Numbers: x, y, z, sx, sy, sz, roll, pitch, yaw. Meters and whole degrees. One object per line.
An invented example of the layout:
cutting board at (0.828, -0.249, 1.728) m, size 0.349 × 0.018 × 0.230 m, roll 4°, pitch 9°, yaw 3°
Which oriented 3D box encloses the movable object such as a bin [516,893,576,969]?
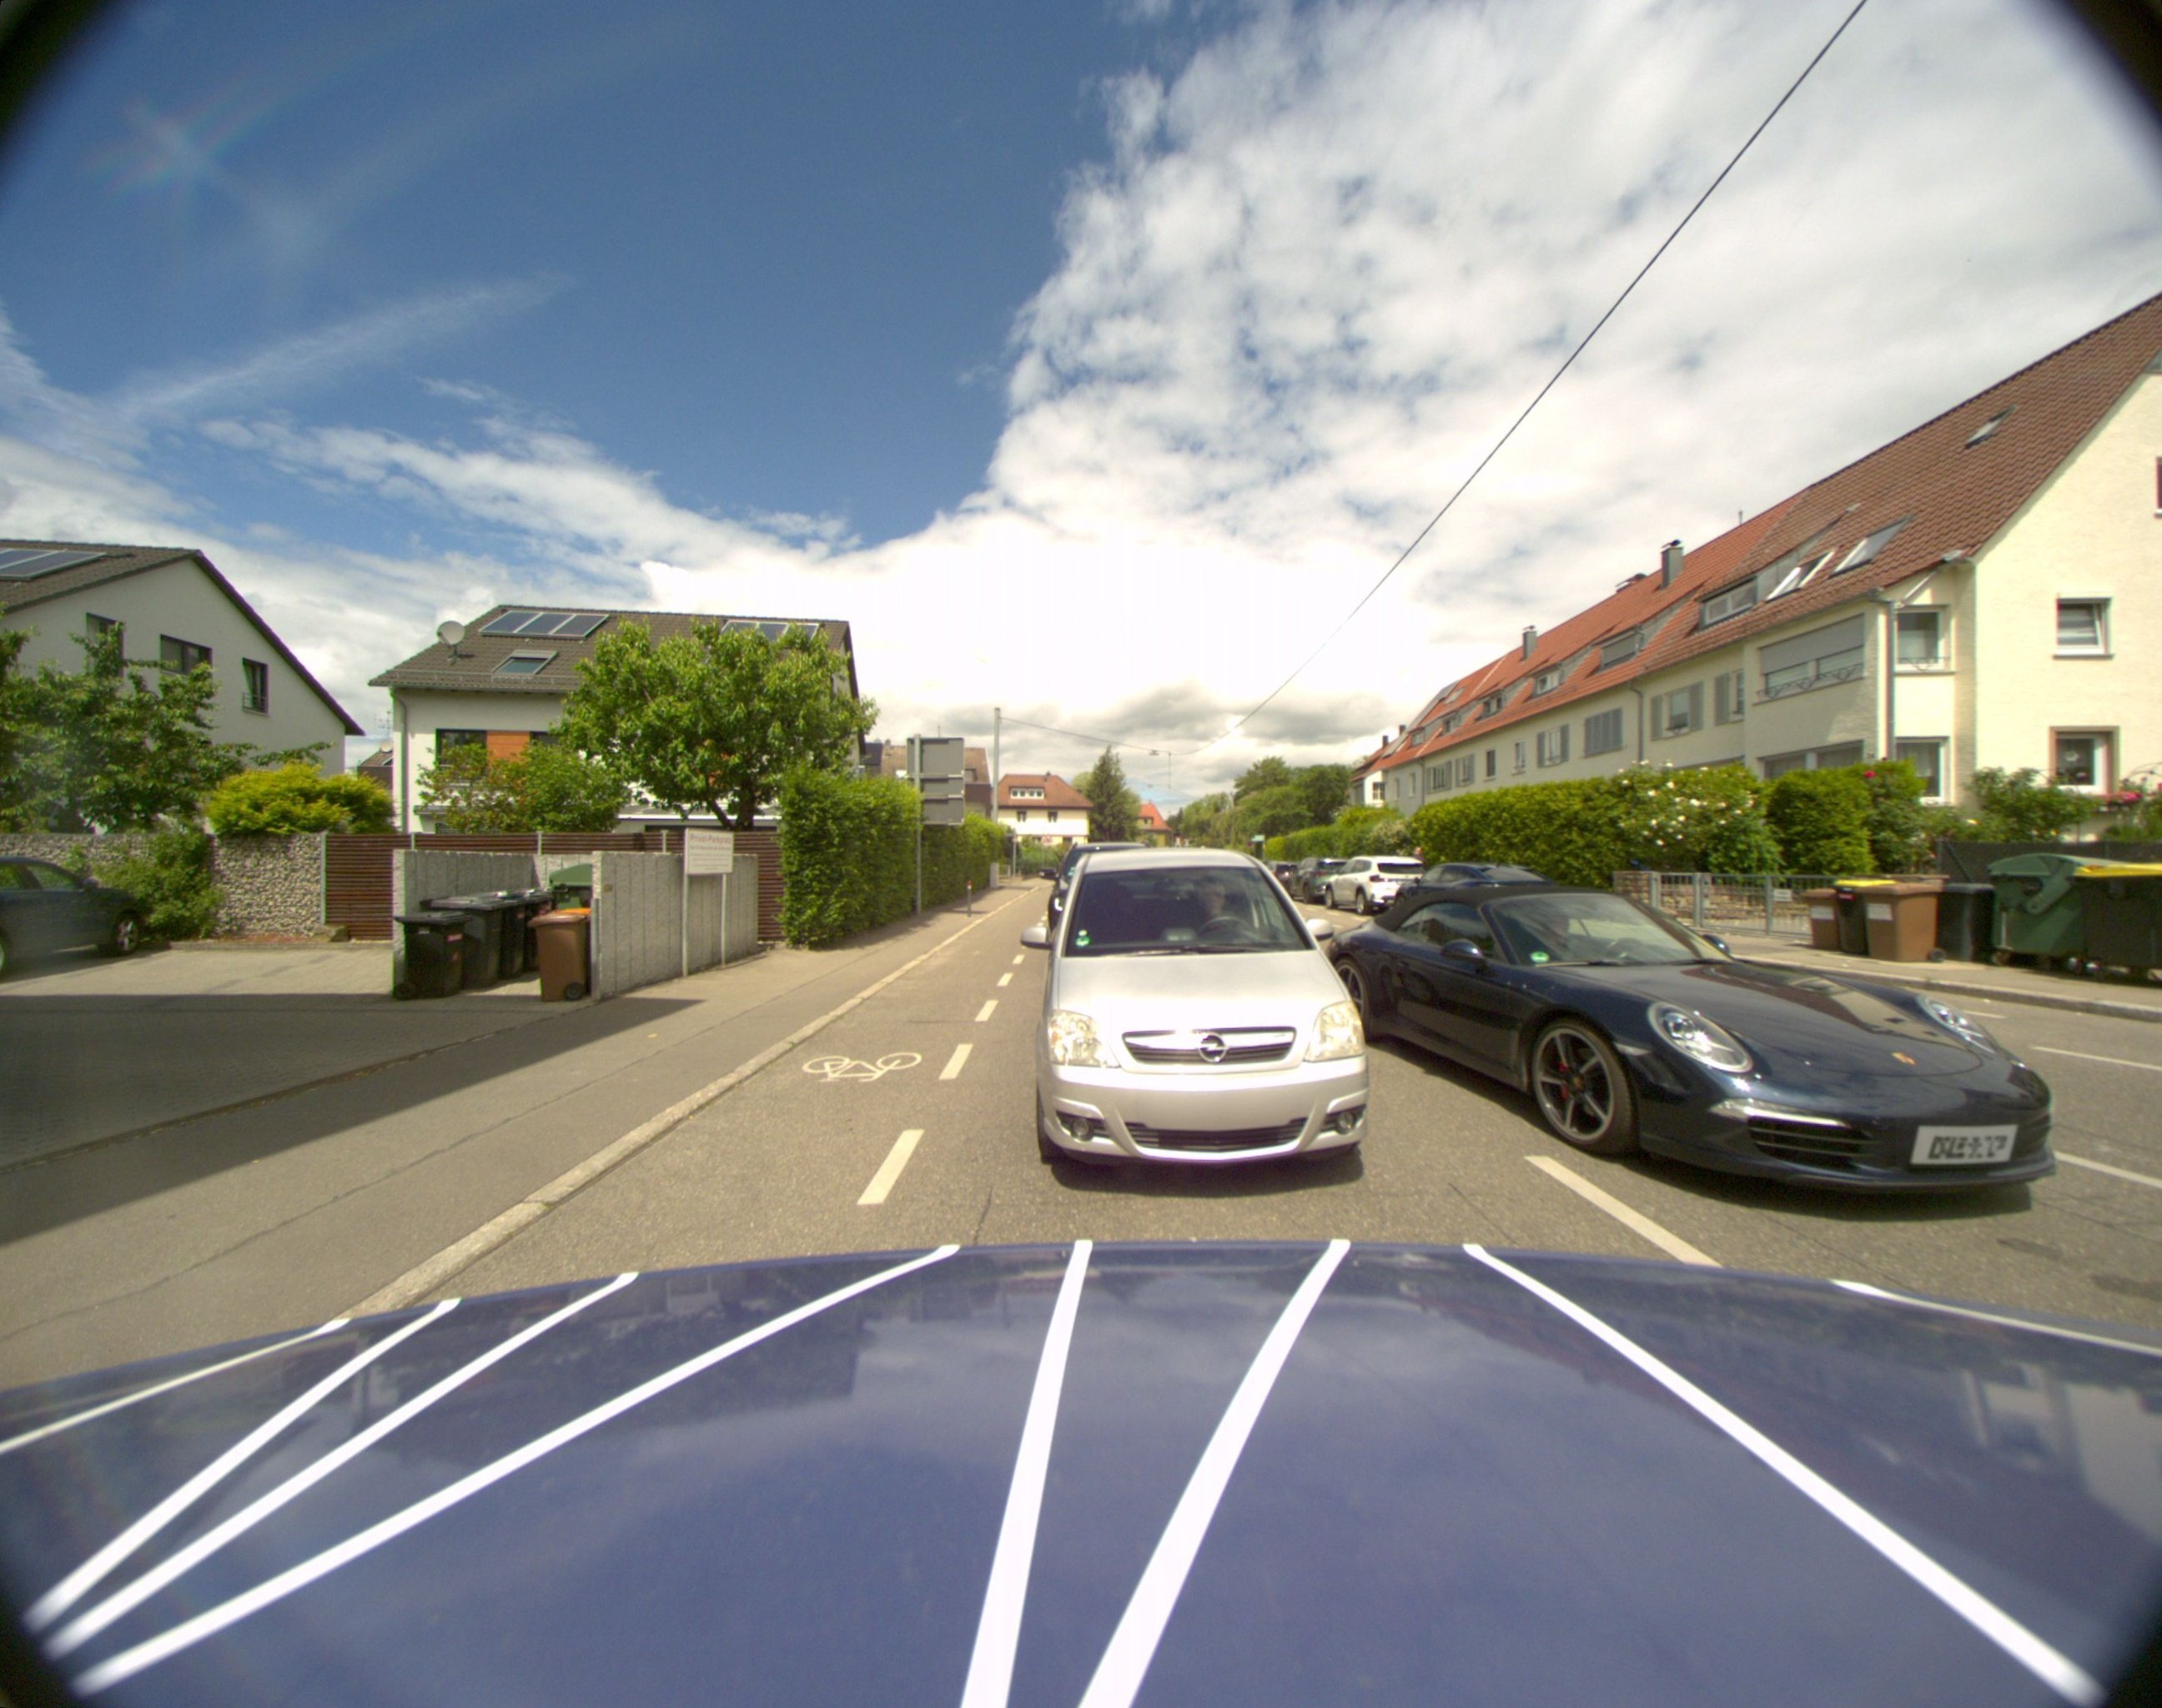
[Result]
movable object such as a bin at (-8.042, 1.145, 11.431) m, size 0.596 × 1.069 × 0.488 m, roll -1°, pitch 1°, yaw -19°

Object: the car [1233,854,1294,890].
car at (9.026, 0.856, 37.887) m, size 1.998 × 1.623 × 4.236 m, roll -1°, pitch 0°, yaw 0°

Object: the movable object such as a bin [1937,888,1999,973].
movable object such as a bin at (11.982, 1.012, 10.259) m, size 0.657 × 1.059 × 0.522 m, roll -1°, pitch 1°, yaw -39°

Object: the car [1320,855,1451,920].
car at (8.545, 0.874, 21.817) m, size 1.998 × 1.623 × 4.453 m, roll -1°, pitch 0°, yaw 0°

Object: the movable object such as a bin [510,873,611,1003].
movable object such as a bin at (-6.087, 0.966, 8.914) m, size 0.809 × 1.446 × 0.479 m, roll -1°, pitch 1°, yaw -4°

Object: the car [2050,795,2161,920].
car at (19.342, 0.012, 12.588) m, size 3.997 × 2.002 × 2.000 m, roll -1°, pitch 0°, yaw 0°

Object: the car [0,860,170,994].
car at (-14.802, 0.934, 10.069) m, size 2.003 × 1.587 × 3.991 m, roll -1°, pitch 1°, yaw -26°

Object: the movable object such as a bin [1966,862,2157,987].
movable object such as a bin at (12.032, 0.830, 9.374) m, size 1.092 × 1.438 × 0.981 m, roll -1°, pitch 0°, yaw 0°

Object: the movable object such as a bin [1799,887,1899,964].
movable object such as a bin at (11.259, 1.036, 11.166) m, size 0.763 × 1.059 × 0.693 m, roll -1°, pitch 1°, yaw 7°

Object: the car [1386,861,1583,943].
car at (8.614, 0.937, 16.752) m, size 1.819 × 1.492 × 4.452 m, roll -1°, pitch 0°, yaw -2°

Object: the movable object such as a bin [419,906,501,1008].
movable object such as a bin at (-7.118, 1.162, 8.731) m, size 0.596 × 1.069 × 0.488 m, roll -1°, pitch 1°, yaw -24°

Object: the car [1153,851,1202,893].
car at (4.569, 0.807, 36.629) m, size 1.998 × 1.903 × 4.070 m, roll -1°, pitch 0°, yaw 2°

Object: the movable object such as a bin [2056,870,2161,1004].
movable object such as a bin at (11.804, 0.876, 8.285) m, size 1.092 × 1.354 × 0.981 m, roll -1°, pitch 0°, yaw 0°

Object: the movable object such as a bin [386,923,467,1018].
movable object such as a bin at (-7.059, 1.241, 8.215) m, size 0.519 × 0.916 × 0.478 m, roll -1°, pitch 1°, yaw -24°

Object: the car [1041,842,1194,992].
car at (0.398, 0.782, 12.096) m, size 1.887 × 1.838 × 5.220 m, roll -1°, pitch 0°, yaw -1°

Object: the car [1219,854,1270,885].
car at (9.231, 0.842, 43.166) m, size 1.998 × 1.623 × 4.236 m, roll -1°, pitch 0°, yaw 0°

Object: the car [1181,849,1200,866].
car at (12.782, 0.347, 88.605) m, size 1.997 × 1.903 × 4.072 m, roll -1°, pitch 0°, yaw 11°

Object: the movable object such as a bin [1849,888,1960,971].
movable object such as a bin at (11.255, 1.021, 10.413) m, size 0.763 × 1.059 × 0.693 m, roll -1°, pitch 1°, yaw 7°

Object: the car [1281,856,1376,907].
car at (8.648, 0.914, 26.962) m, size 1.998 × 1.623 × 4.236 m, roll -1°, pitch 0°, yaw 0°

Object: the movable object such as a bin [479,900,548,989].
movable object such as a bin at (-7.313, 1.151, 9.809) m, size 0.596 × 1.069 × 0.488 m, roll -1°, pitch 1°, yaw -24°

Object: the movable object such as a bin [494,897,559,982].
movable object such as a bin at (-7.505, 1.137, 10.303) m, size 0.596 × 1.069 × 0.488 m, roll -1°, pitch 1°, yaw -24°

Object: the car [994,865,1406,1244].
car at (0.536, 0.908, 5.321) m, size 1.774 × 1.566 × 4.001 m, roll -1°, pitch 0°, yaw 0°

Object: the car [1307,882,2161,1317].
car at (3.173, 0.947, 4.809) m, size 1.816 × 1.356 × 4.041 m, roll -1°, pitch 0°, yaw -8°

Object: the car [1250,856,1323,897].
car at (8.716, 0.898, 32.574) m, size 1.998 × 1.623 × 4.236 m, roll 0°, pitch 0°, yaw 0°

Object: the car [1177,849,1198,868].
car at (11.456, 0.481, 81.459) m, size 1.997 × 1.903 × 4.072 m, roll -1°, pitch 0°, yaw 11°

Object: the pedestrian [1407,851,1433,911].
pedestrian at (10.287, 0.808, 23.052) m, size 0.533 × 1.805 × 0.511 m, roll -1°, pitch 1°, yaw -4°

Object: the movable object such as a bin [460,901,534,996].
movable object such as a bin at (-7.137, 1.138, 9.314) m, size 0.596 × 1.069 × 0.488 m, roll -1°, pitch 1°, yaw -24°

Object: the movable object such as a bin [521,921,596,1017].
movable object such as a bin at (-5.548, 1.205, 8.093) m, size 0.519 × 0.916 × 0.478 m, roll -1°, pitch 1°, yaw -18°
